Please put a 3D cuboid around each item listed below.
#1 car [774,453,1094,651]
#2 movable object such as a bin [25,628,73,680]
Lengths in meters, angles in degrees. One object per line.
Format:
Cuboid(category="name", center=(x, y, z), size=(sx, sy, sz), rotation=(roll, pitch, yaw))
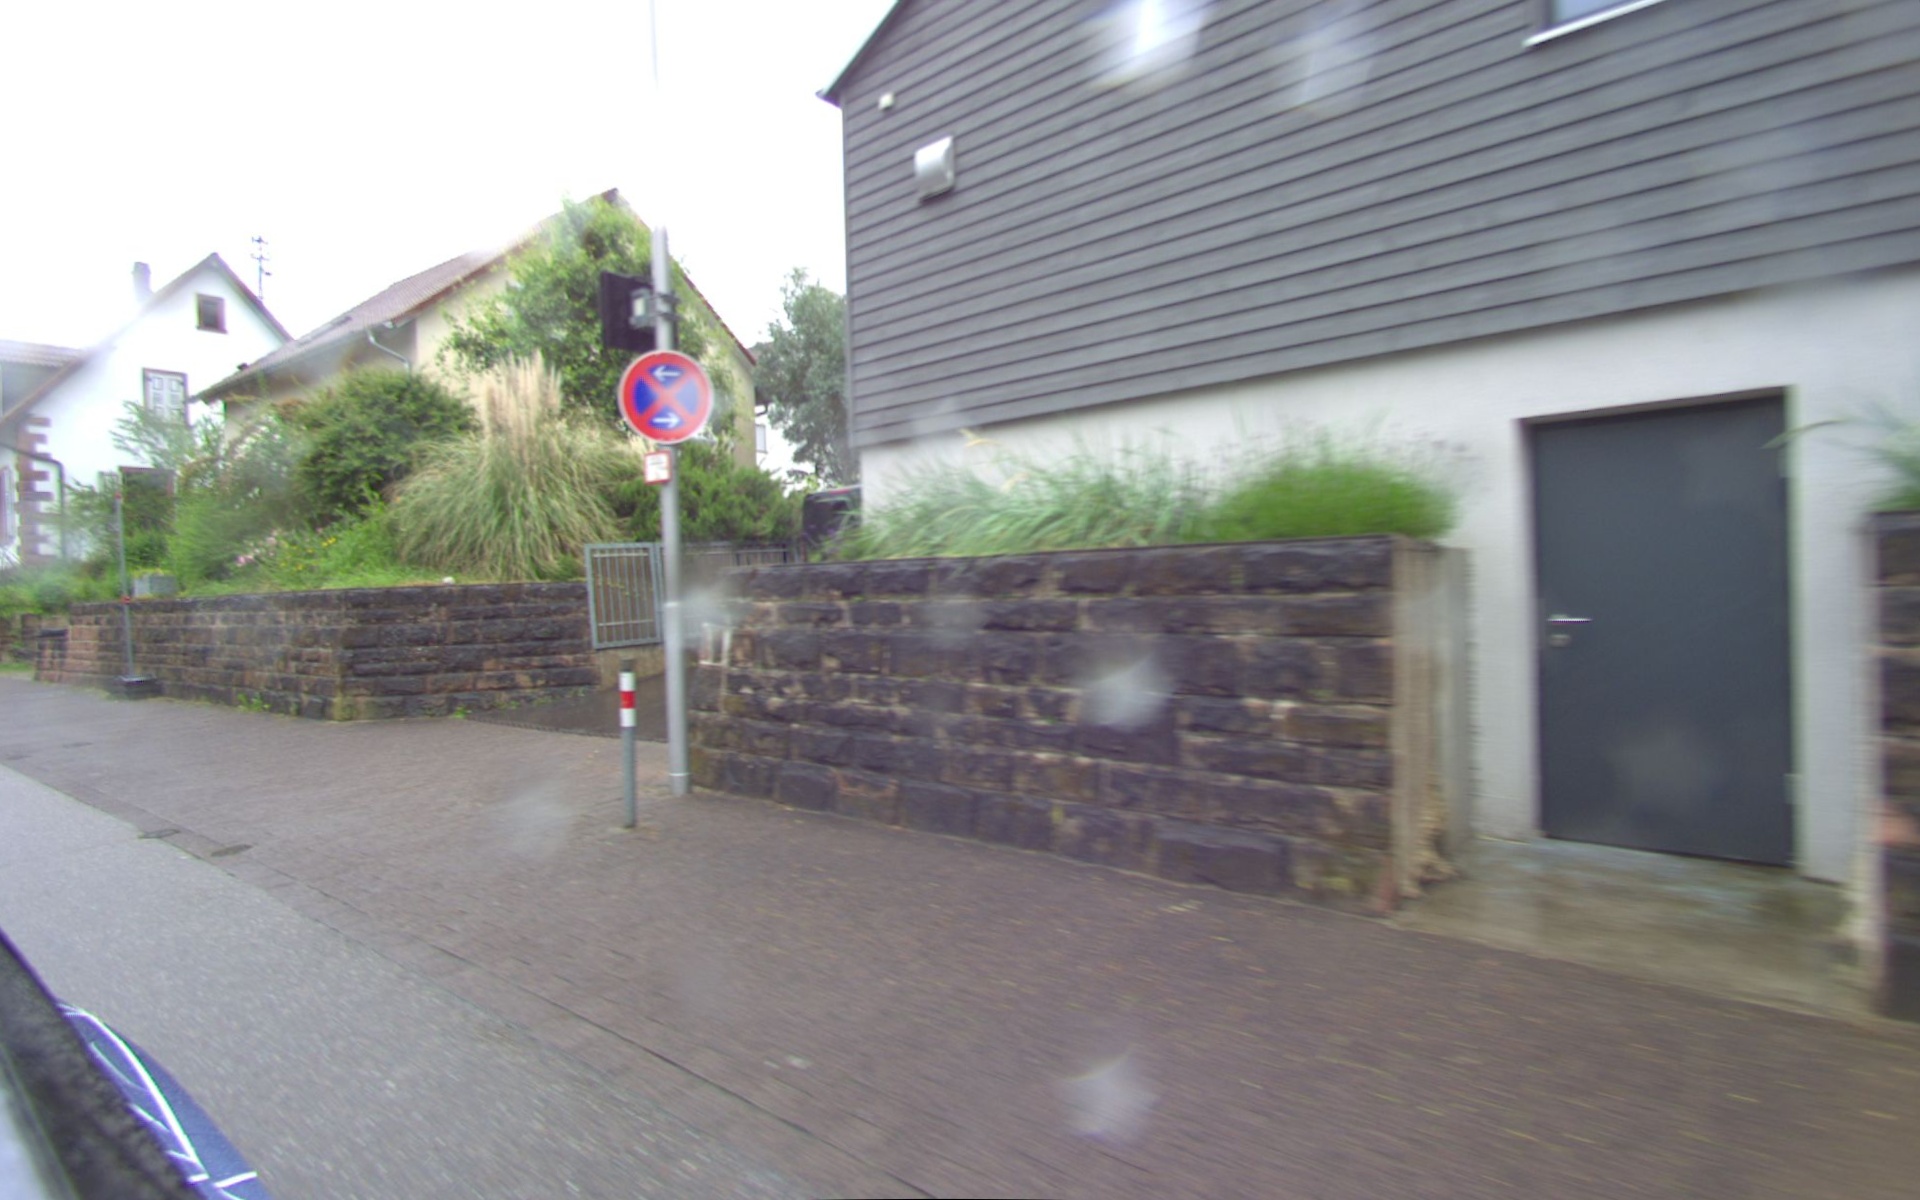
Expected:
Cuboid(category="car", center=(-0.188, -0.736, 13.365), size=(1.998, 1.978, 3.953), rotation=(0, 9, 39))
Cuboid(category="movable object such as a bin", center=(-17.358, 1.022, 19.291), size=(0.543, 0.937, 0.533), rotation=(-1, 2, 34))
